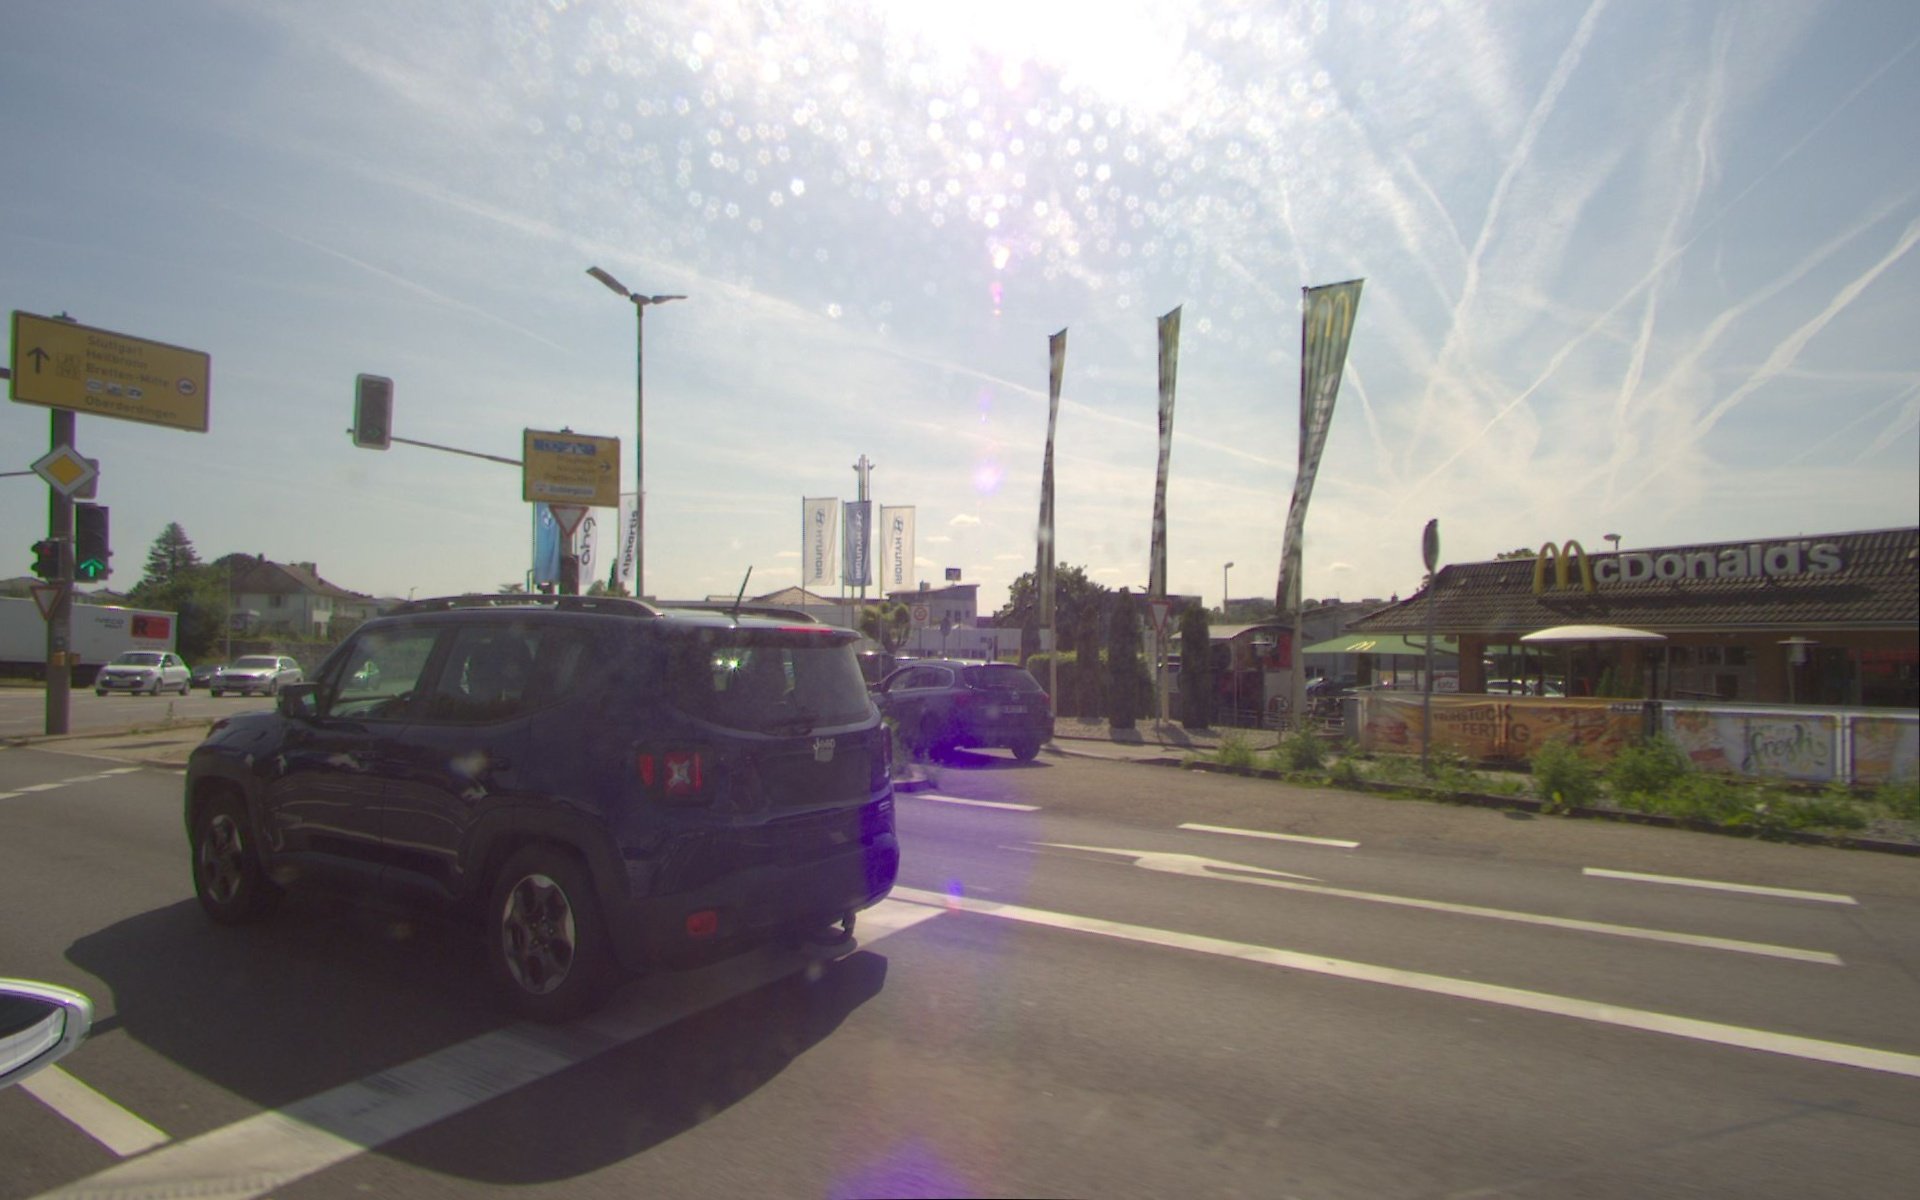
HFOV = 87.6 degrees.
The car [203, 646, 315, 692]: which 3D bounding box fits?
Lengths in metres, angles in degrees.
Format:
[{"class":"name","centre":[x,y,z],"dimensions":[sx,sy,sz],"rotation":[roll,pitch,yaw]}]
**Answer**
[{"class":"car","centre":[-25.506,2.546,36.660],"dimensions":[1.966,1.523,4.994],"rotation":[2,-5,-18]}]

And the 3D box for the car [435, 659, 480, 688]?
[{"class":"car","centre":[-29.793,4.328,59.461],"dimensions":[1.967,1.594,3.992],"rotation":[3,-4,-21]}]

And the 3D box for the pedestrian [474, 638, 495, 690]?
[{"class":"pedestrian","centre":[-18.887,2.539,39.799],"dimensions":[0.654,2.039,0.876],"rotation":[1,-2,-22]}]

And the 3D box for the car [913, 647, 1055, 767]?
[{"class":"car","centre":[0.374,1.578,16.055],"dimensions":[1.961,1.539,4.451],"rotation":[0,-1,1]}]

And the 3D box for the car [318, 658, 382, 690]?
[{"class":"car","centre":[-30.298,3.690,49.869],"dimensions":[1.886,1.515,3.995],"rotation":[2,-4,-19]}]

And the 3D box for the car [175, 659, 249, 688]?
[{"class":"car","centre":[-40.576,3.978,54.450],"dimensions":[1.966,1.478,4.314],"rotation":[0,-3,-19]}]

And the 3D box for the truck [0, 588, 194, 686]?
[{"class":"truck","centre":[-39.182,1.718,43.437],"dimensions":[2.716,3.668,9.712],"rotation":[0,-6,14]}]

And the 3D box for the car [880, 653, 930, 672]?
[{"class":"car","centre":[-4.996,5.631,90.285],"dimensions":[4.118,1.639,2.004],"rotation":[0,-1,-20]}]

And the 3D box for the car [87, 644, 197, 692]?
[{"class":"car","centre":[-28.201,2.380,34.679],"dimensions":[1.682,1.522,3.751],"rotation":[2,-5,-19]}]

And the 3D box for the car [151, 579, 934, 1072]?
[{"class":"car","centre":[-2.260,0.807,5.189],"dimensions":[3.941,1.676,1.768],"rotation":[-1,-1,31]}]
